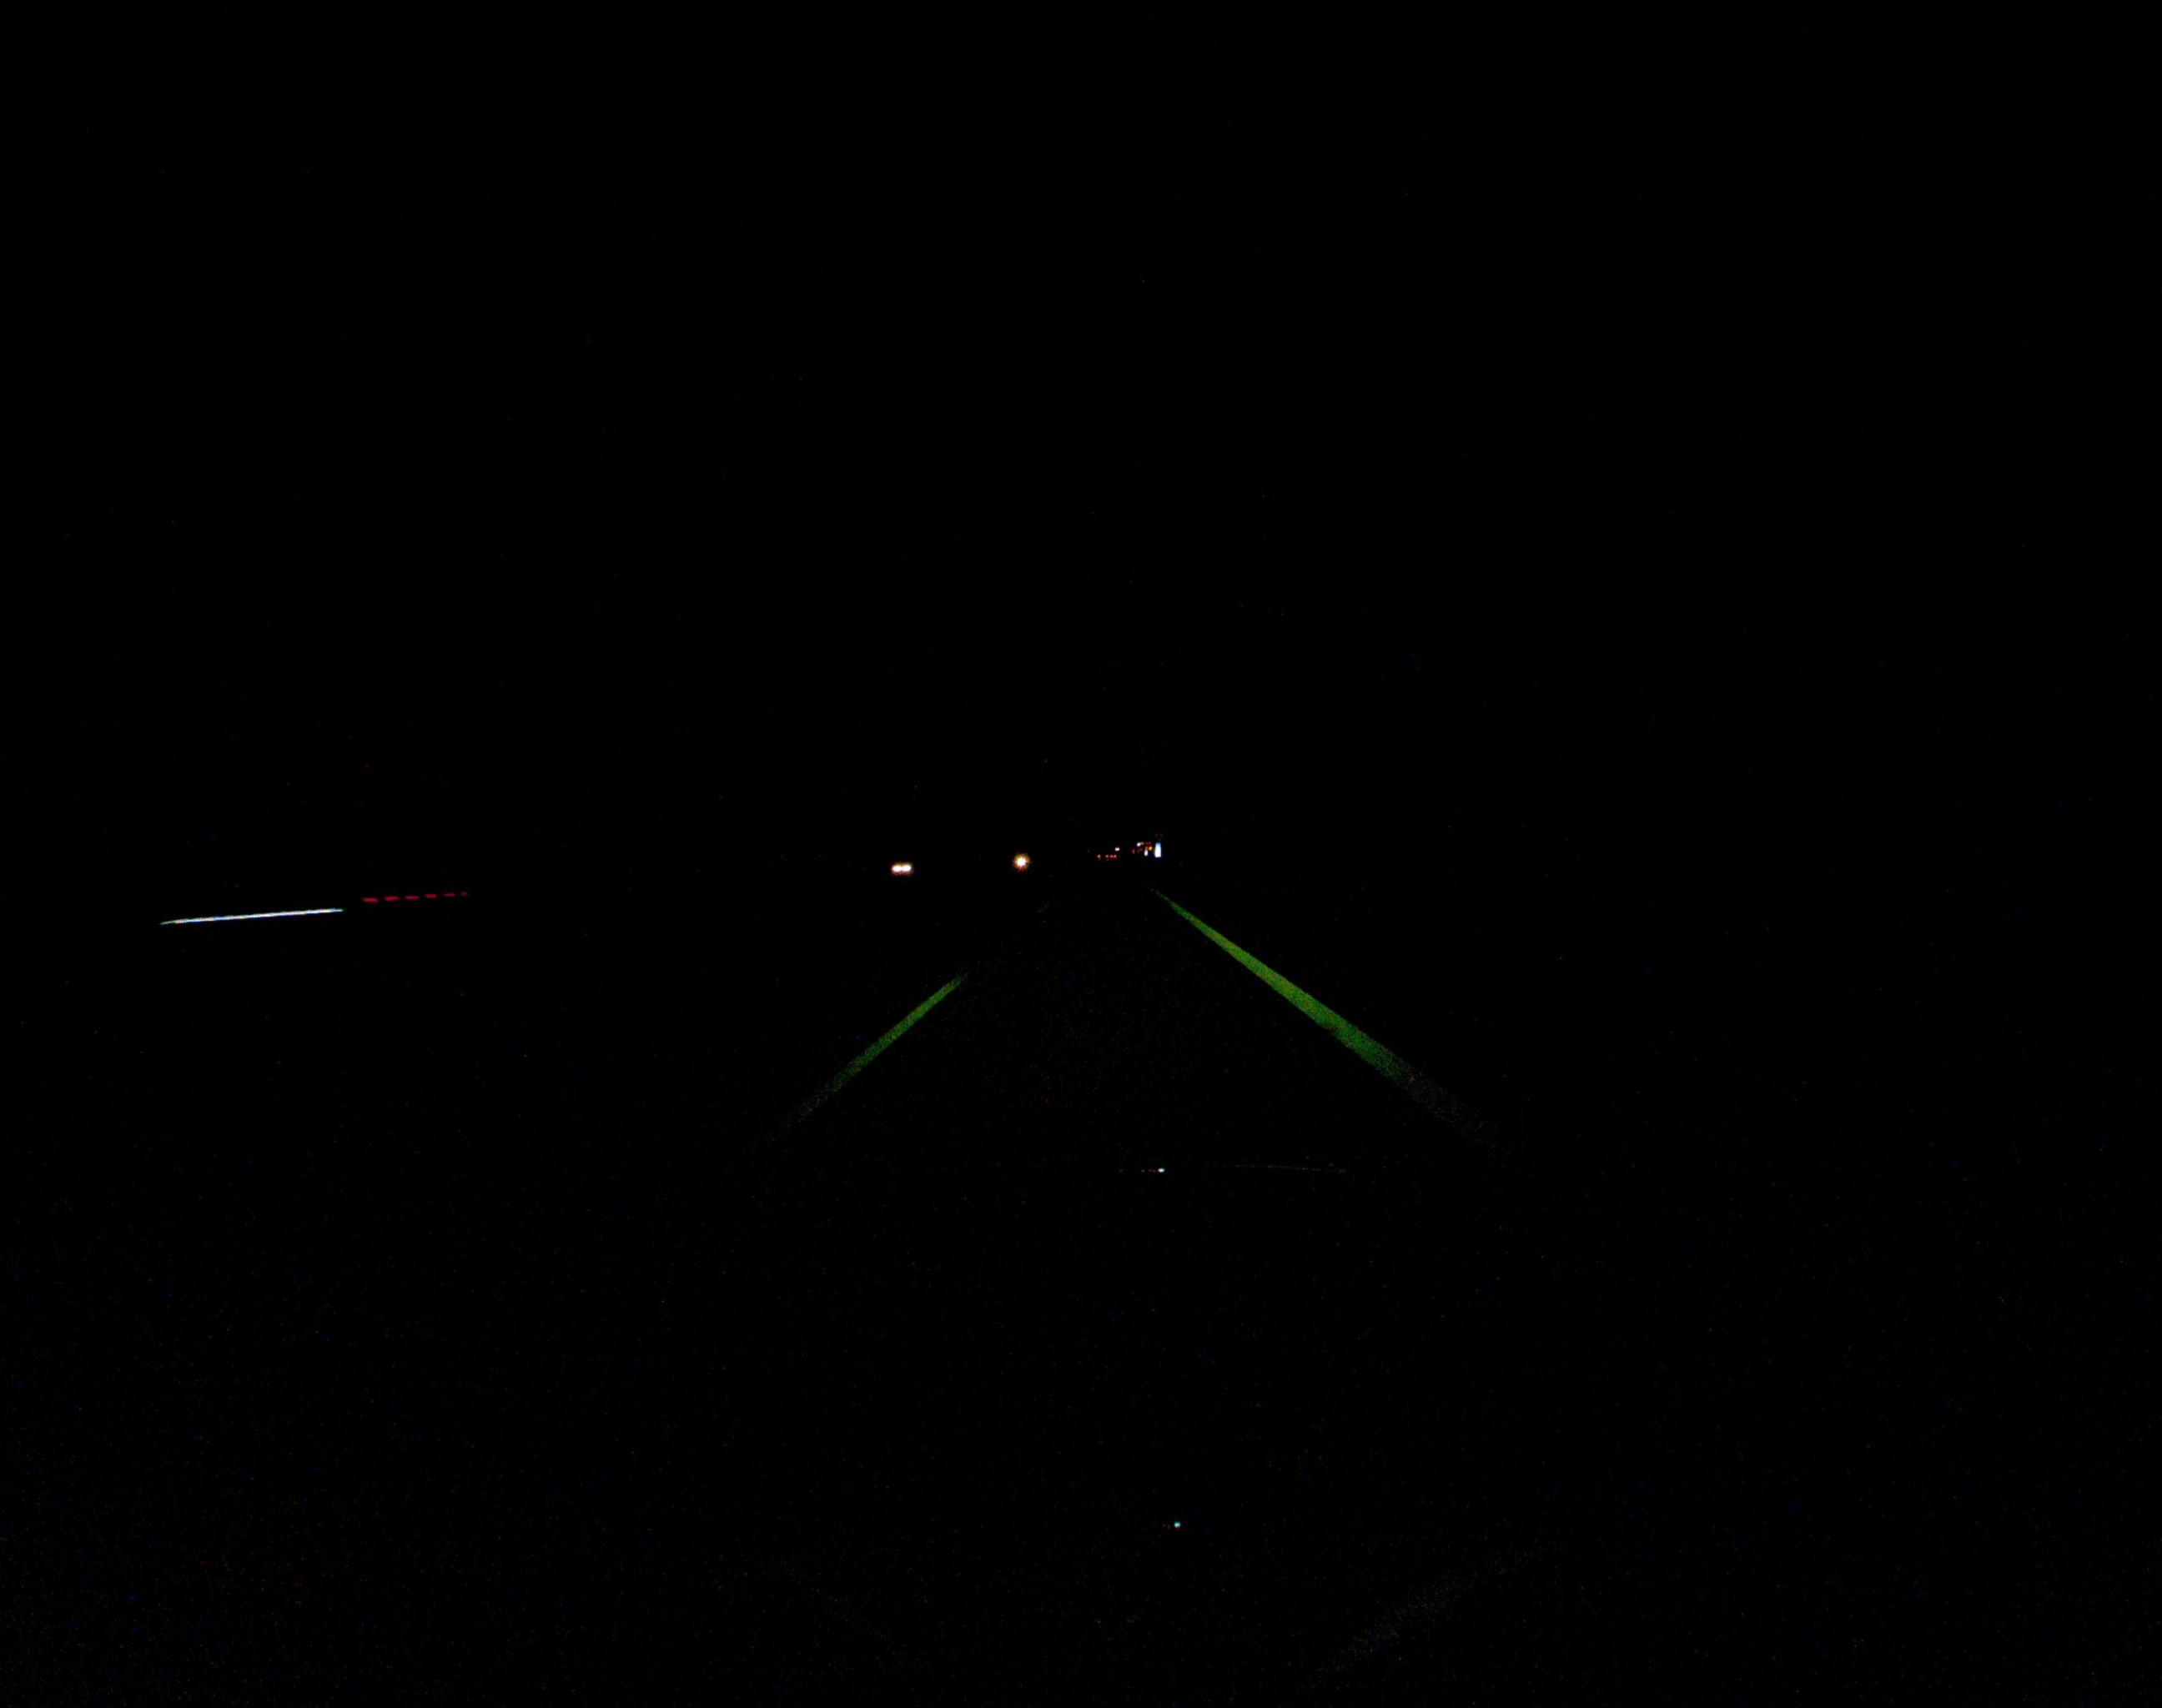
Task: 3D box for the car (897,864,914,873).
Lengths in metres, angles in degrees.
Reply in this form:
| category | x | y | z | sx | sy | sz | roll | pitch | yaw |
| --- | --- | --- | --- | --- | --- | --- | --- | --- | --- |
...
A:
| category | x | y | z | sx | sy | sz | roll | pitch | yaw |
| --- | --- | --- | --- | --- | --- | --- | --- | --- | --- |
| car | -25.007 | 2.085 | 115.893 | 1.587 | 1.264 | 3.998 | -1 | 0 | -1 |

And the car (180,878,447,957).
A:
| category | x | y | z | sx | sy | sz | roll | pitch | yaw |
| --- | --- | --- | --- | --- | --- | --- | --- | --- | --- |
| car | -18.025 | 1.403 | 19.527 | 1.854 | 1.498 | 4.706 | -1 | 0 | 1 |

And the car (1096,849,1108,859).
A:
| category | x | y | z | sx | sy | sz | roll | pitch | yaw |
| --- | --- | --- | --- | --- | --- | --- | --- | --- | --- |
| car | 4.883 | 0.022 | 186.433 | 2.501 | 2.314 | 4.974 | -1 | 0 | 3 |
